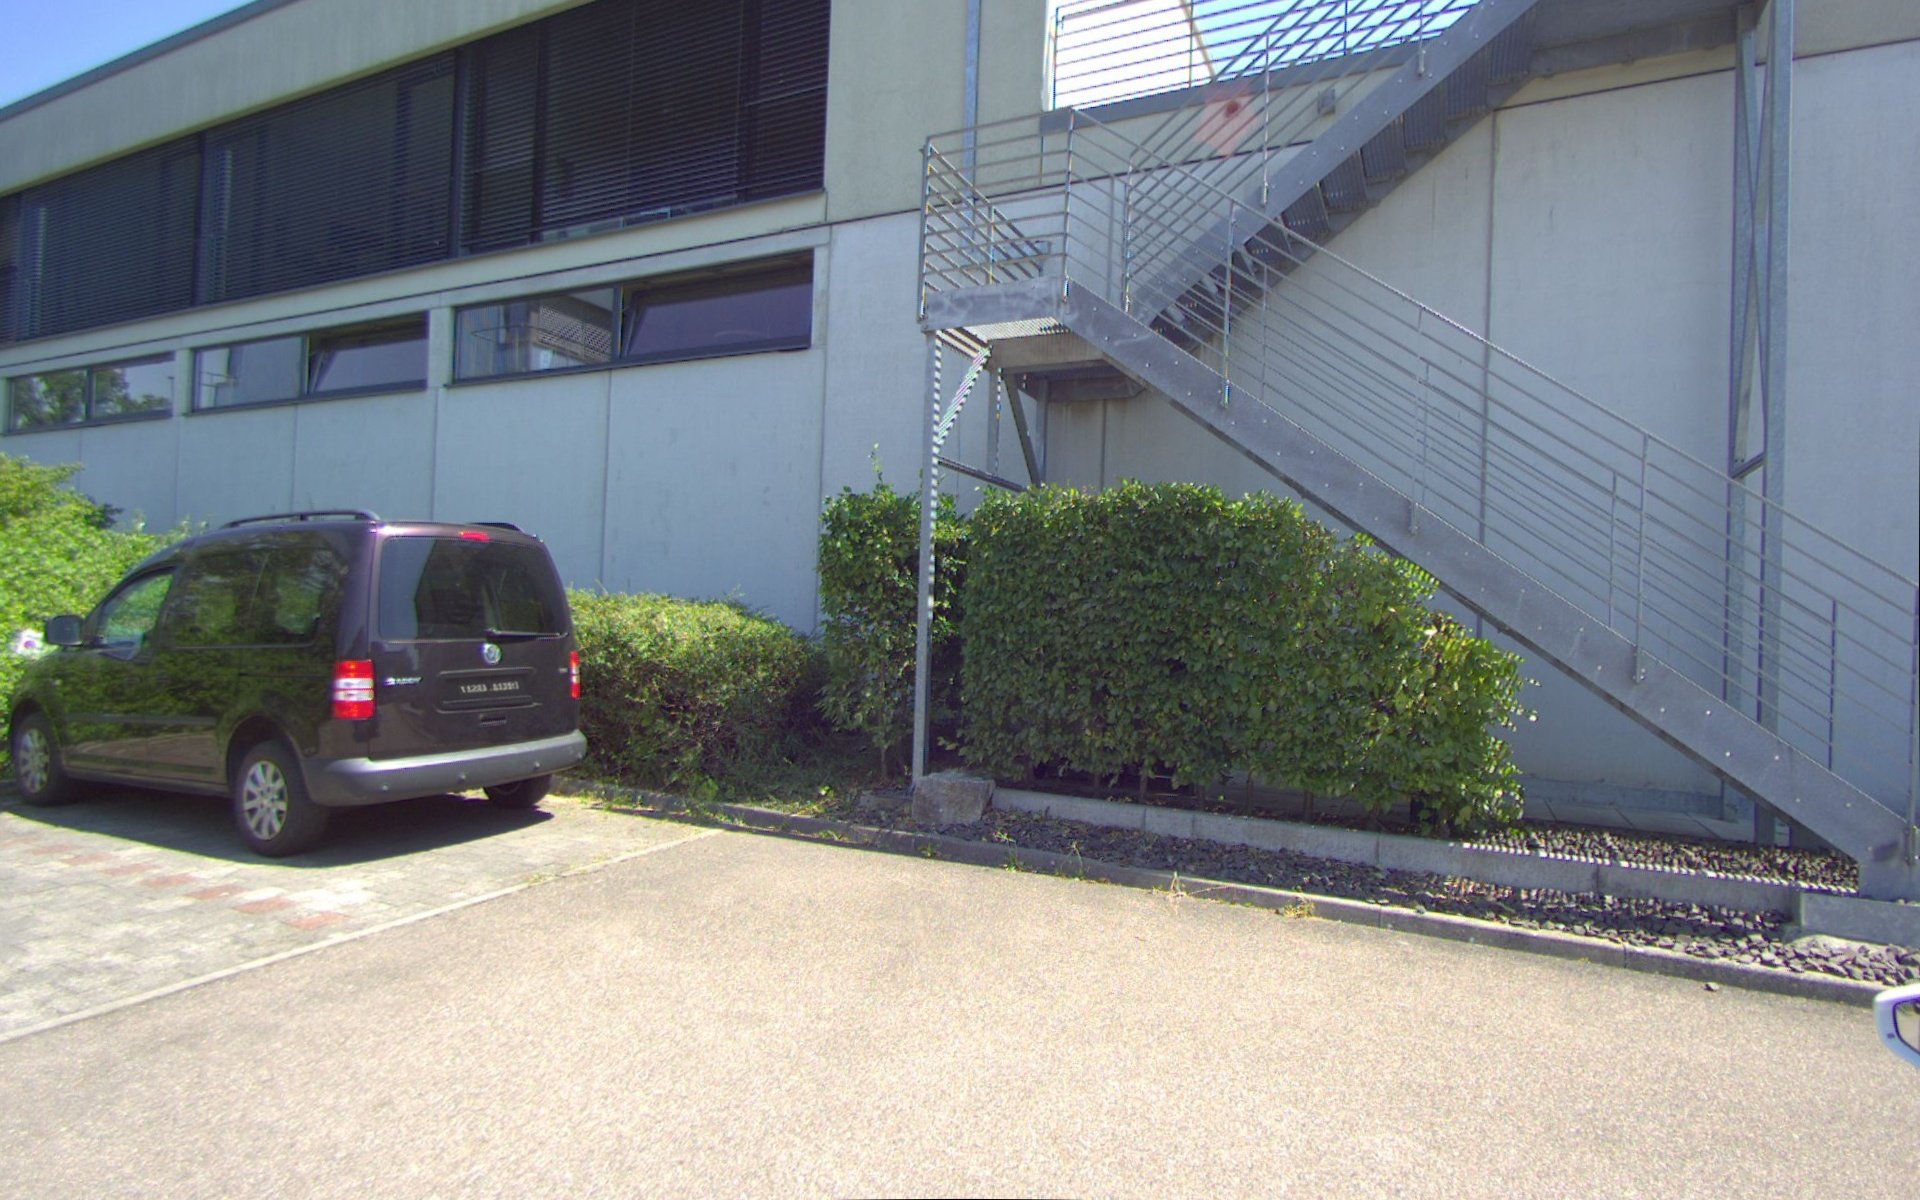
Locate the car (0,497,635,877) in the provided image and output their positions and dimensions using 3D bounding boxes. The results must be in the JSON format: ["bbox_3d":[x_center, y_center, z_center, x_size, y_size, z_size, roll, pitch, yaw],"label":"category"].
[{"bbox_3d":[-4.447,0.409,6.729,4.149,1.885,1.867,1,0,26],"label":"car"}]
